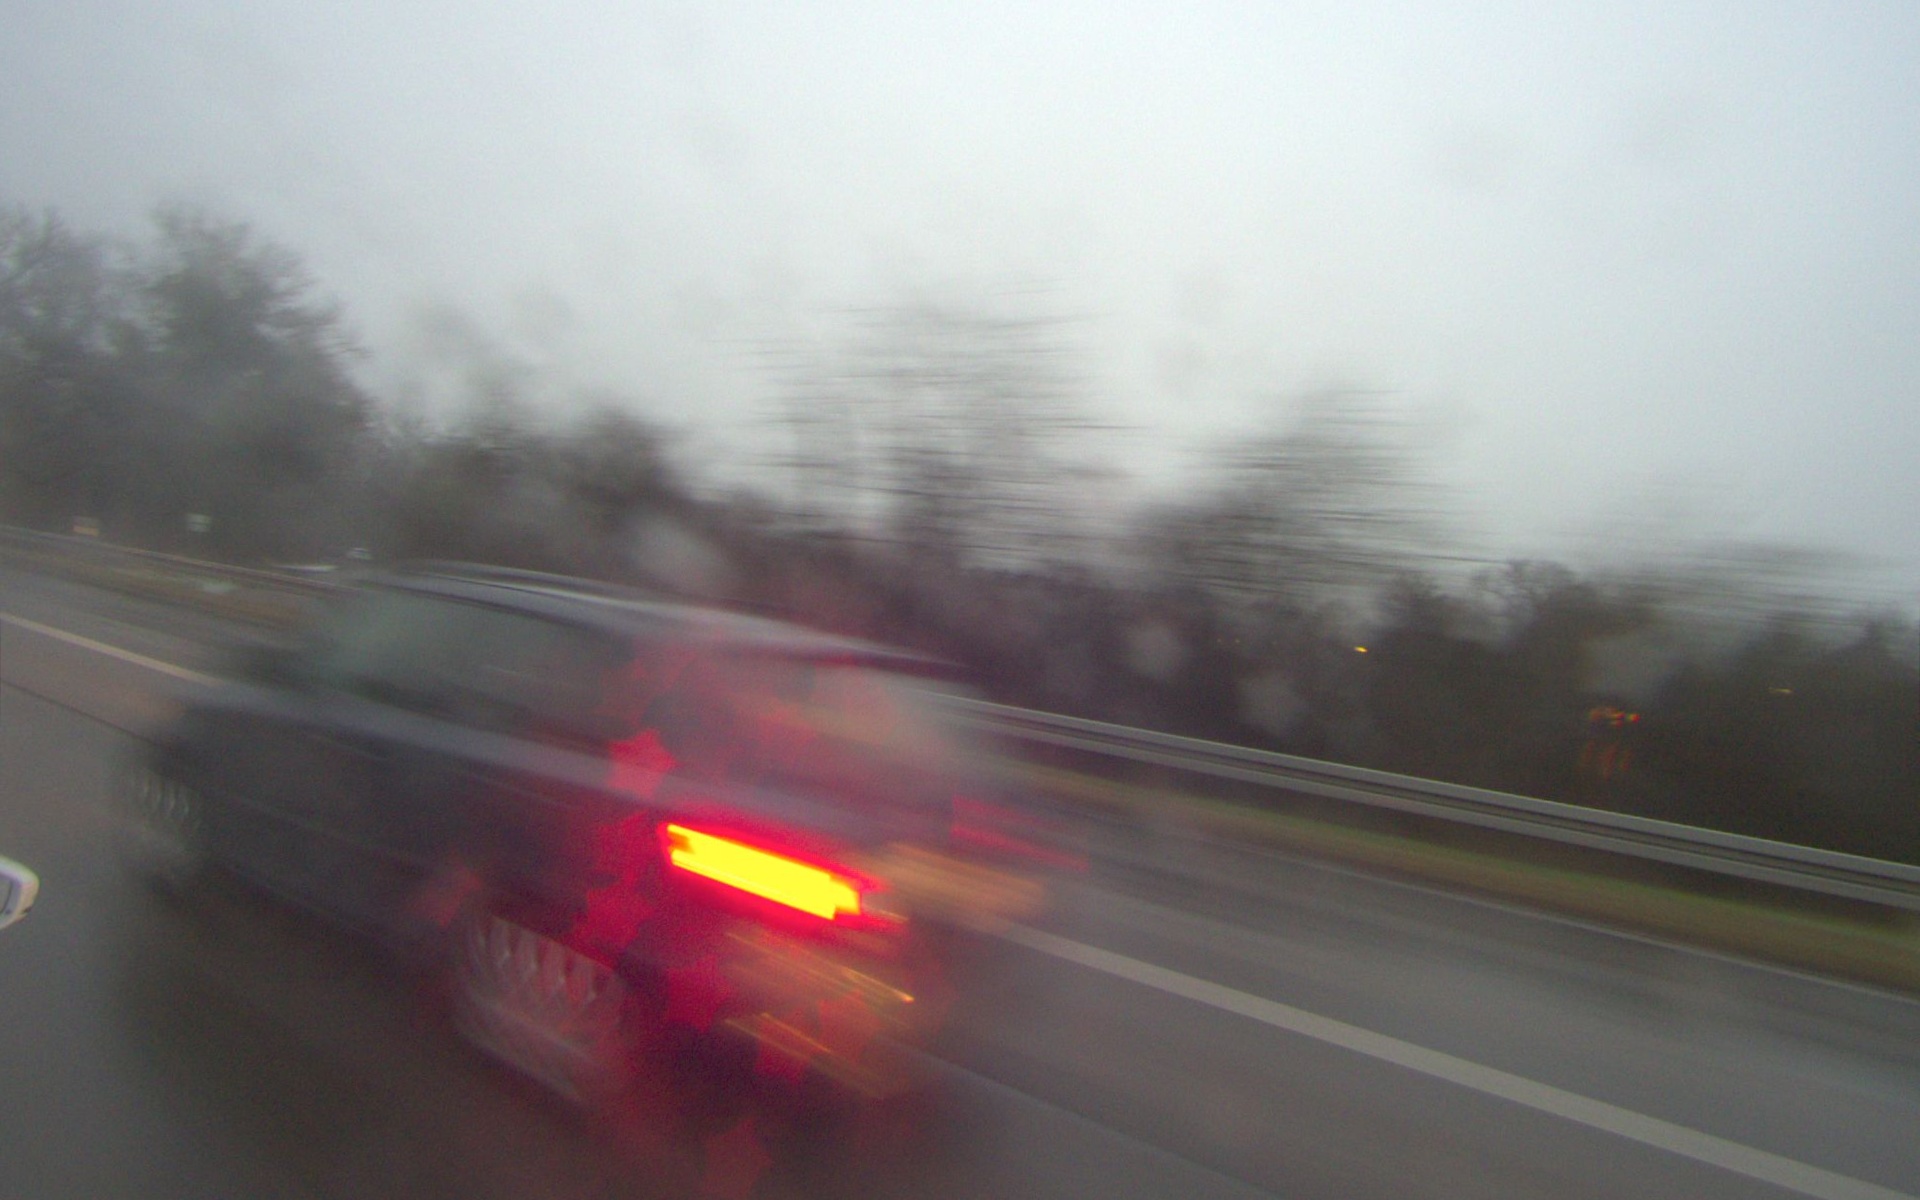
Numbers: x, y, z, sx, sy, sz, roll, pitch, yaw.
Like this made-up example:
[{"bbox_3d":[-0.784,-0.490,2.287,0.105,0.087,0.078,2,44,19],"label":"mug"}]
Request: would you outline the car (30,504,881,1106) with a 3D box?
[{"bbox_3d":[-2.315,0.548,4.399,3.535,1.508,1.597,7,-1,32],"label":"car"}]
